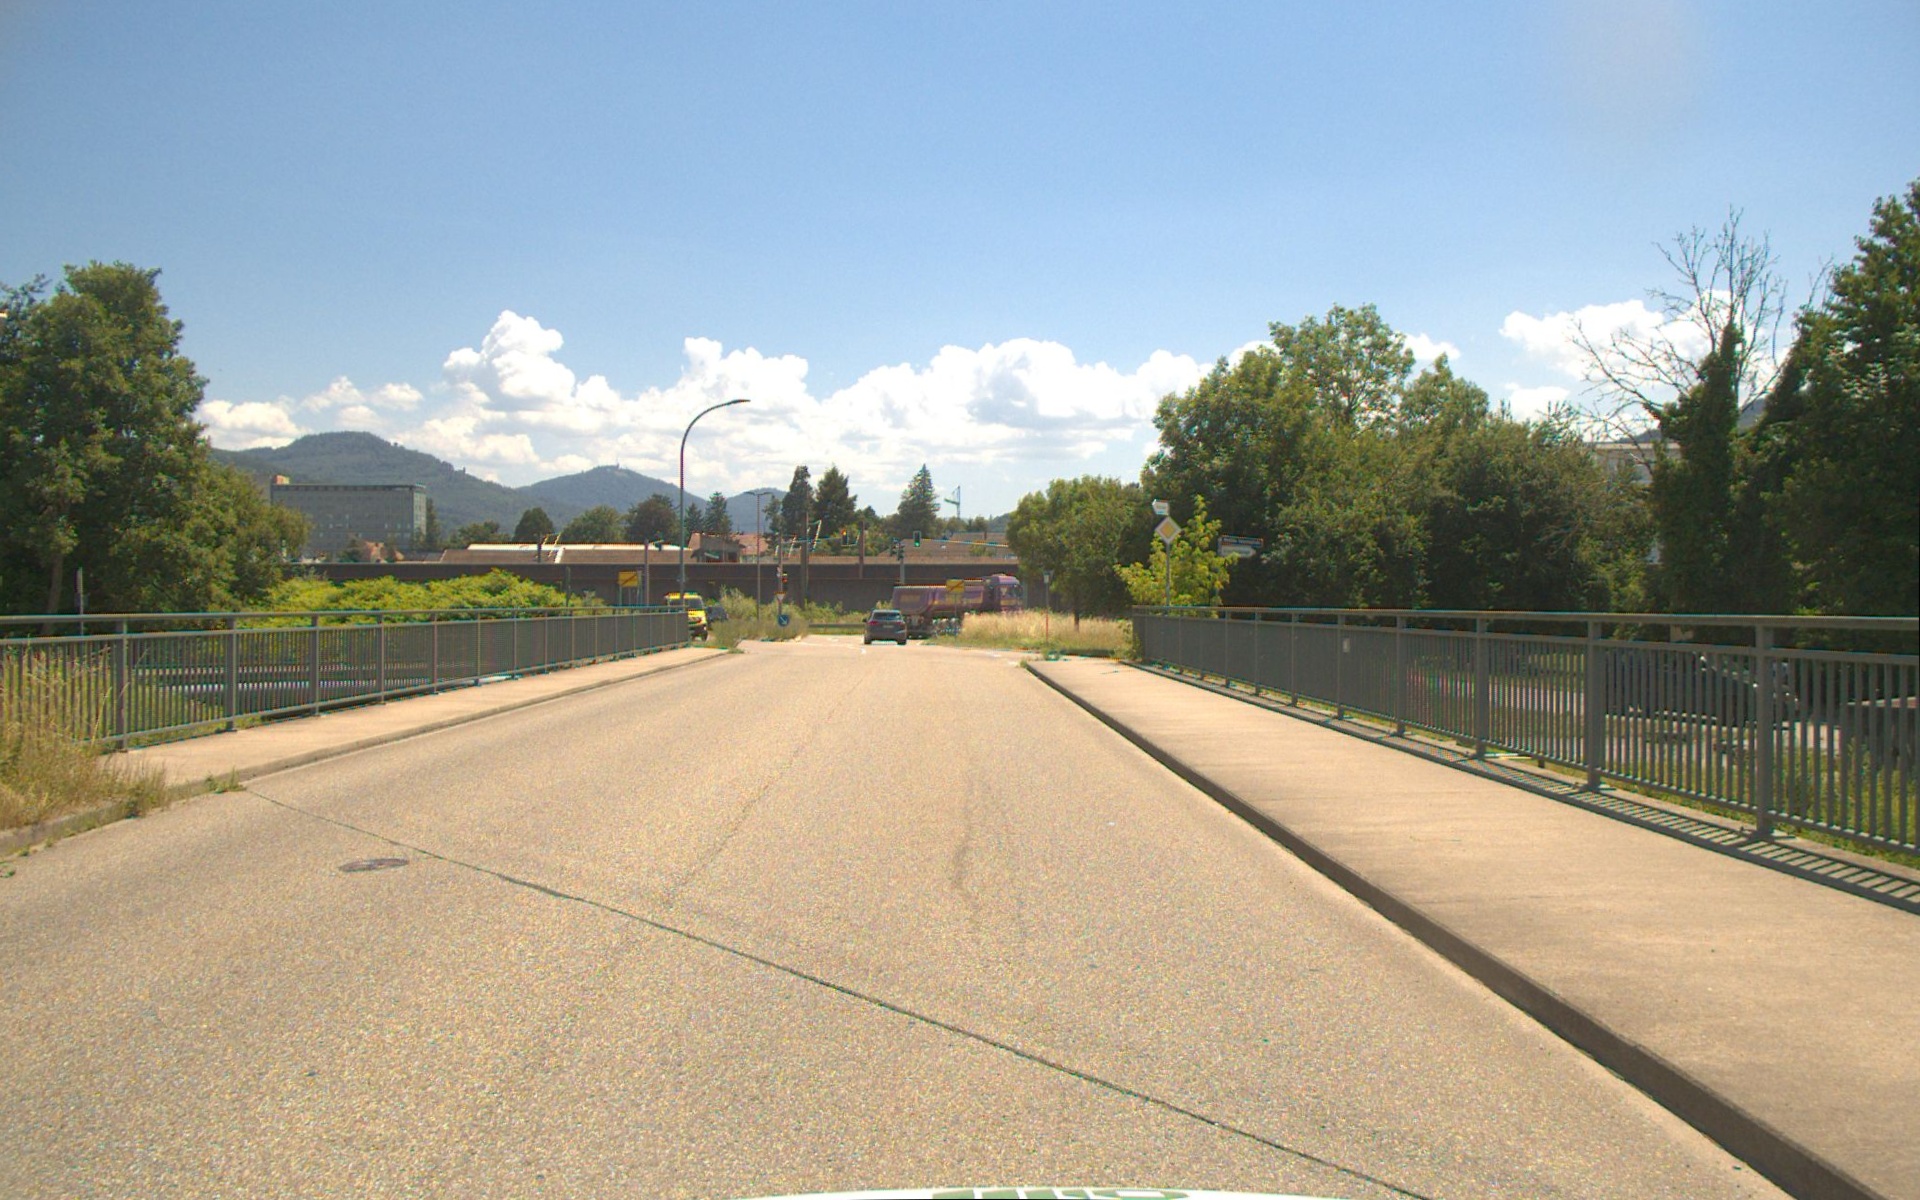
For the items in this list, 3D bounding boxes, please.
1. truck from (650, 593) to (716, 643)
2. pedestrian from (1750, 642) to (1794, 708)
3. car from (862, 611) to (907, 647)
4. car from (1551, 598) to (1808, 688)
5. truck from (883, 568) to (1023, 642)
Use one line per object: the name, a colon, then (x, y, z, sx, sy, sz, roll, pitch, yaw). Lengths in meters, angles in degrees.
truck: (-14.334, 0.978, 85.138, 2.274, 2.378, 9.009, -1, -1, -16)
pedestrian: (18.512, 1.697, 37.717, 0.666, 1.417, 0.851, -2, 2, 11)
car: (-3.441, 1.285, 75.488, 1.954, 1.529, 3.998, 2, 0, -3)
car: (14.630, 0.814, 33.828, 1.980, 1.652, 4.450, 0, 1, -39)
truck: (-0.245, 0.408, 102.008, 2.941, 4.254, 11.779, 0, -2, 31)
